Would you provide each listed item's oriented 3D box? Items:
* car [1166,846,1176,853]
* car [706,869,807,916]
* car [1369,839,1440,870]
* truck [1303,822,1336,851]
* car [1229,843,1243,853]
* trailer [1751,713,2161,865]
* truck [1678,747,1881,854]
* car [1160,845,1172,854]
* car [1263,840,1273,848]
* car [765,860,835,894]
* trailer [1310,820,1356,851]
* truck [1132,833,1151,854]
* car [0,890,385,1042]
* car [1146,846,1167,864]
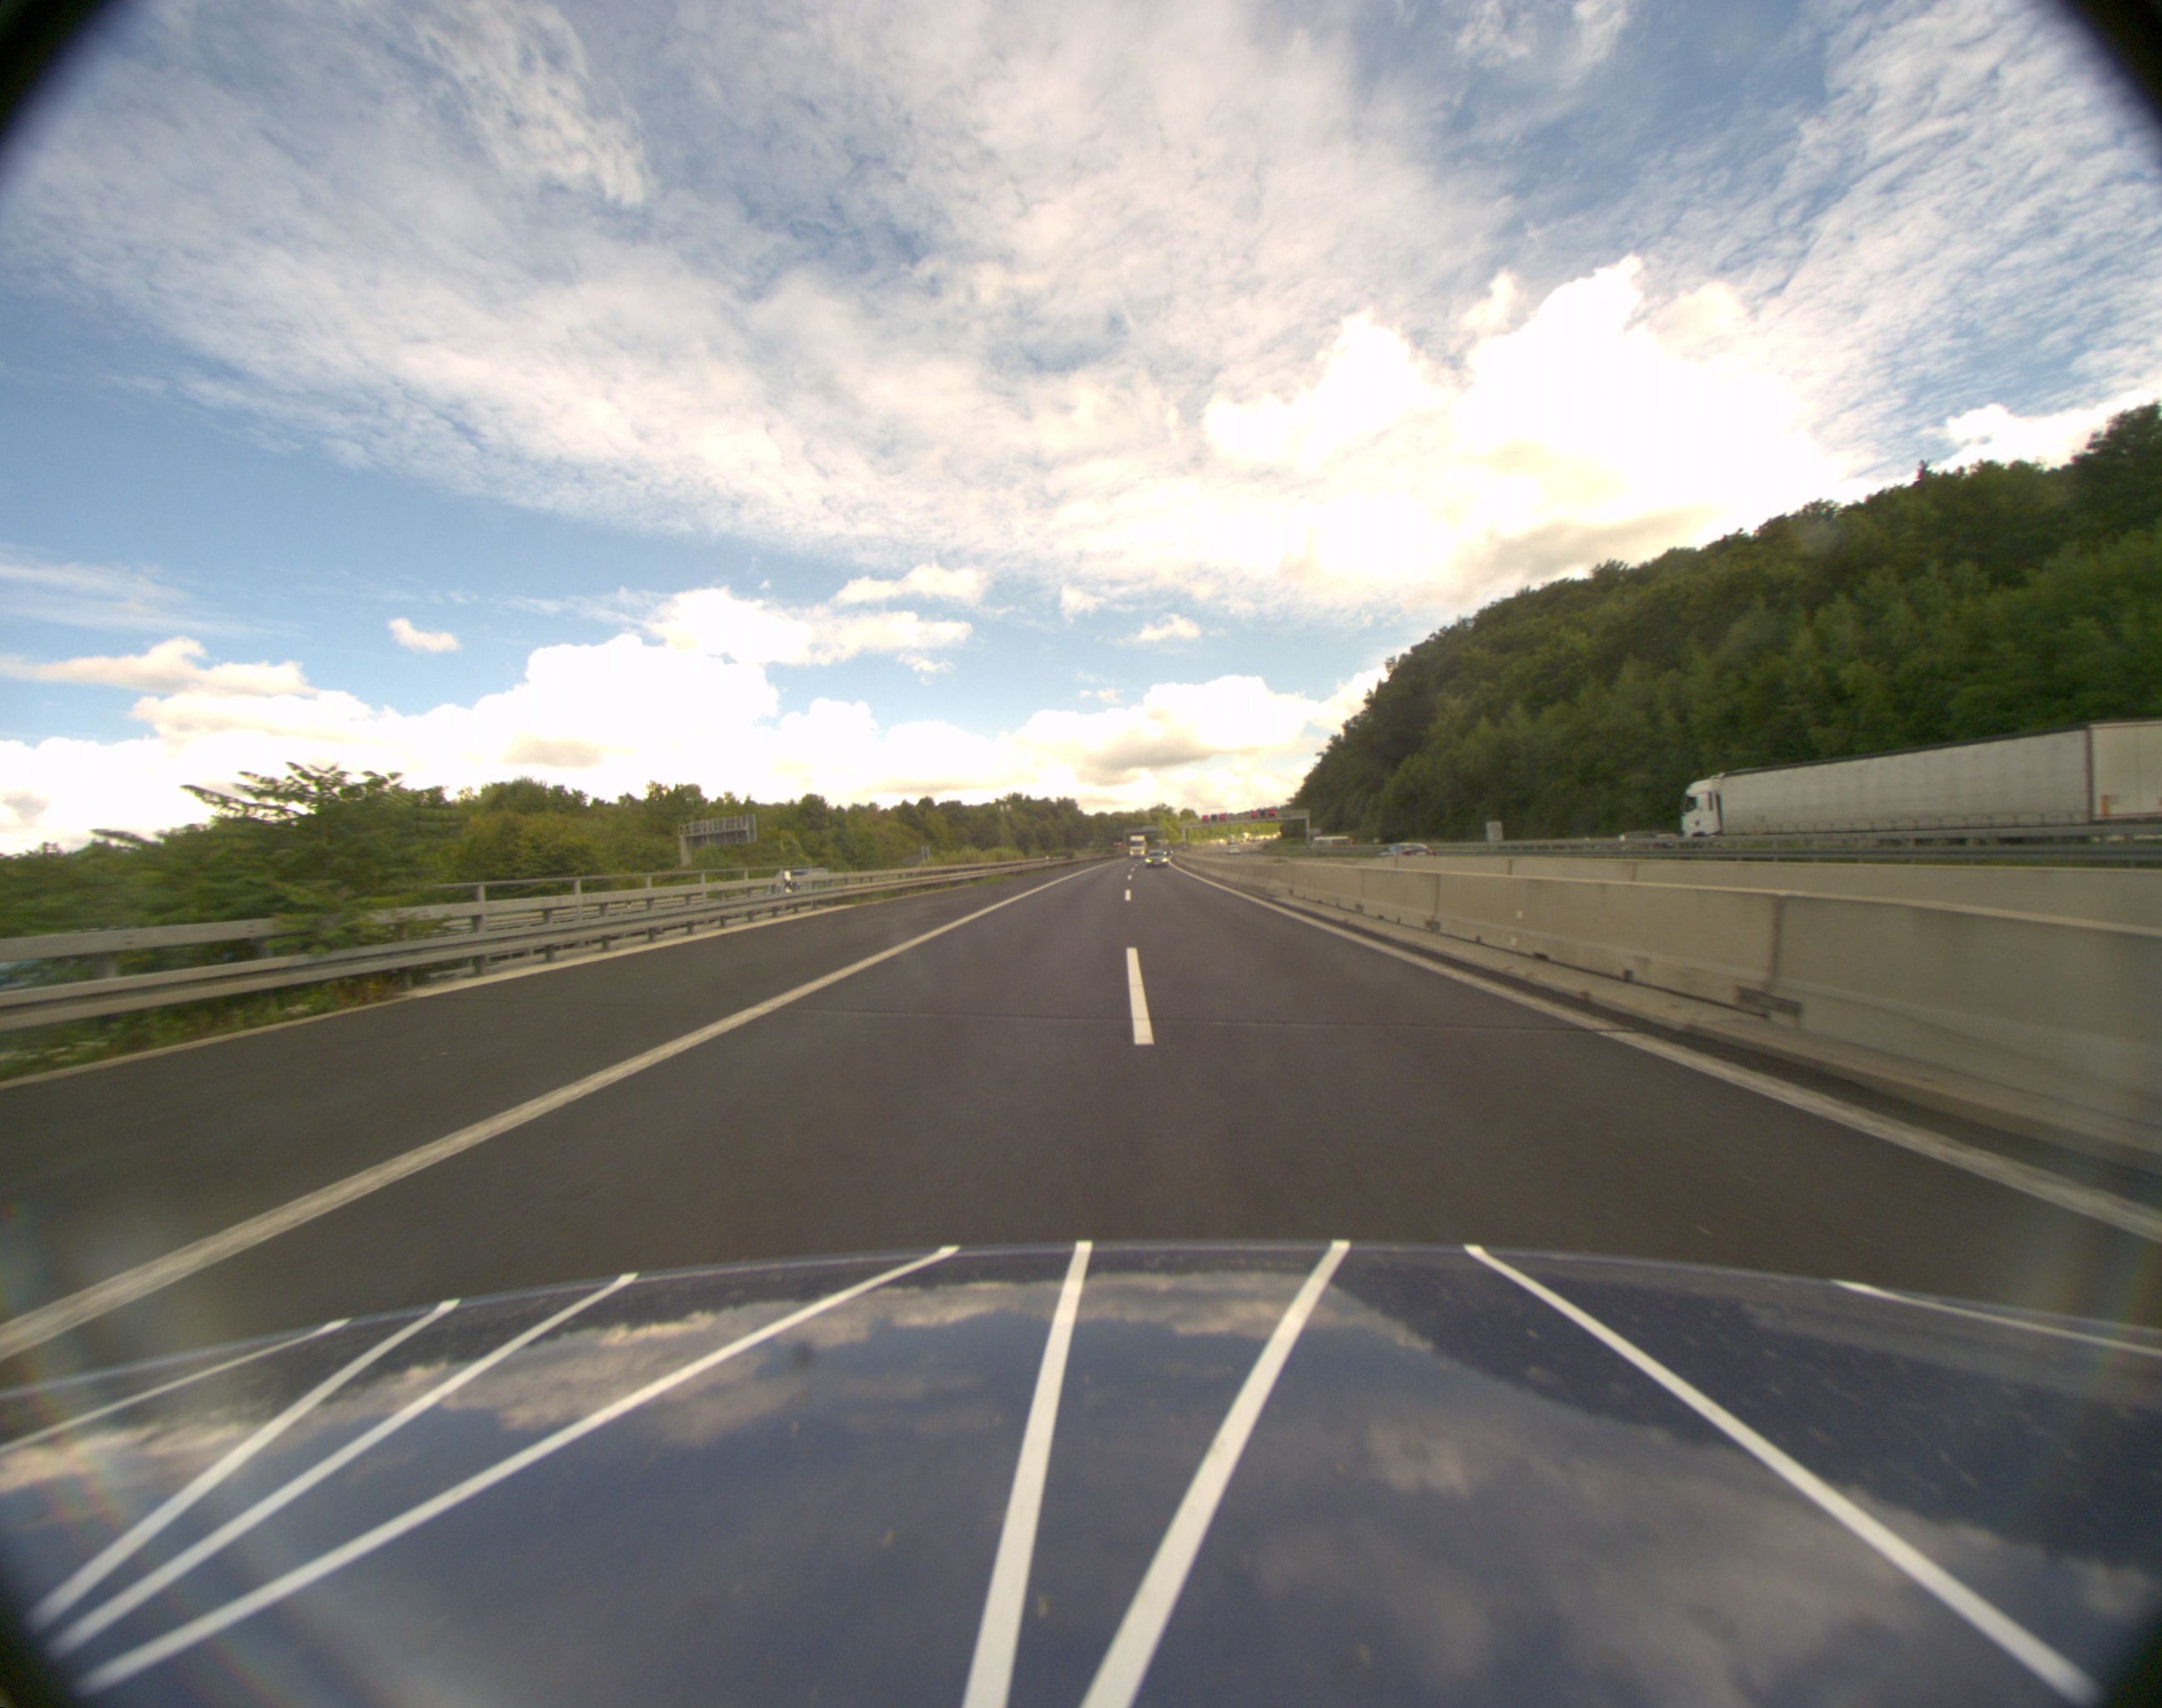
[{"bbox_3d":[20.139,-0.966,169.648,1.997,1.464,4.002,-3,0,8],"label":"car"},{"bbox_3d":[-12.873,1.469,30.480,1.788,1.562,4.345,-3,0,5],"label":"car"},{"bbox_3d":[17.276,-0.029,40.828,1.879,1.439,5.122,-2,2,4],"label":"car"},{"bbox_3d":[33.834,-2.487,107.971,2.815,3.804,7.131,-3,1,5],"label":"truck"},{"bbox_3d":[26.357,-1.071,129.065,1.716,1.519,4.766,-2,2,5],"label":"car"},{"bbox_3d":[31.125,-2.065,27.687,3.329,4.268,12.139,-2,2,4],"label":"trailer"},{"bbox_3d":[31.593,-2.299,34.856,3.328,4.269,6.748,-2,2,4],"label":"truck"},{"bbox_3d":[15.098,-0.755,134.966,1.997,1.464,4.002,-3,0,7],"label":"car"},{"bbox_3d":[46.491,-2.521,188.949,1.997,2.002,4.001,-3,1,7],"label":"car"},{"bbox_3d":[-14.960,1.202,40.726,1.788,1.562,4.345,-3,0,5],"label":"car"},{"bbox_3d":[33.200,-2.409,100.698,2.819,3.785,12.191,-3,1,5],"label":"trailer"},{"bbox_3d":[11.255,-2.036,141.021,2.795,3.563,11.461,-2,2,8],"label":"truck"},{"bbox_3d":[-13.531,1.477,11.290,1.788,1.510,4.677,-3,1,4],"label":"car"},{"bbox_3d":[6.621,0.060,66.608,1.662,1.464,4.001,-2,1,7],"label":"car"}]
